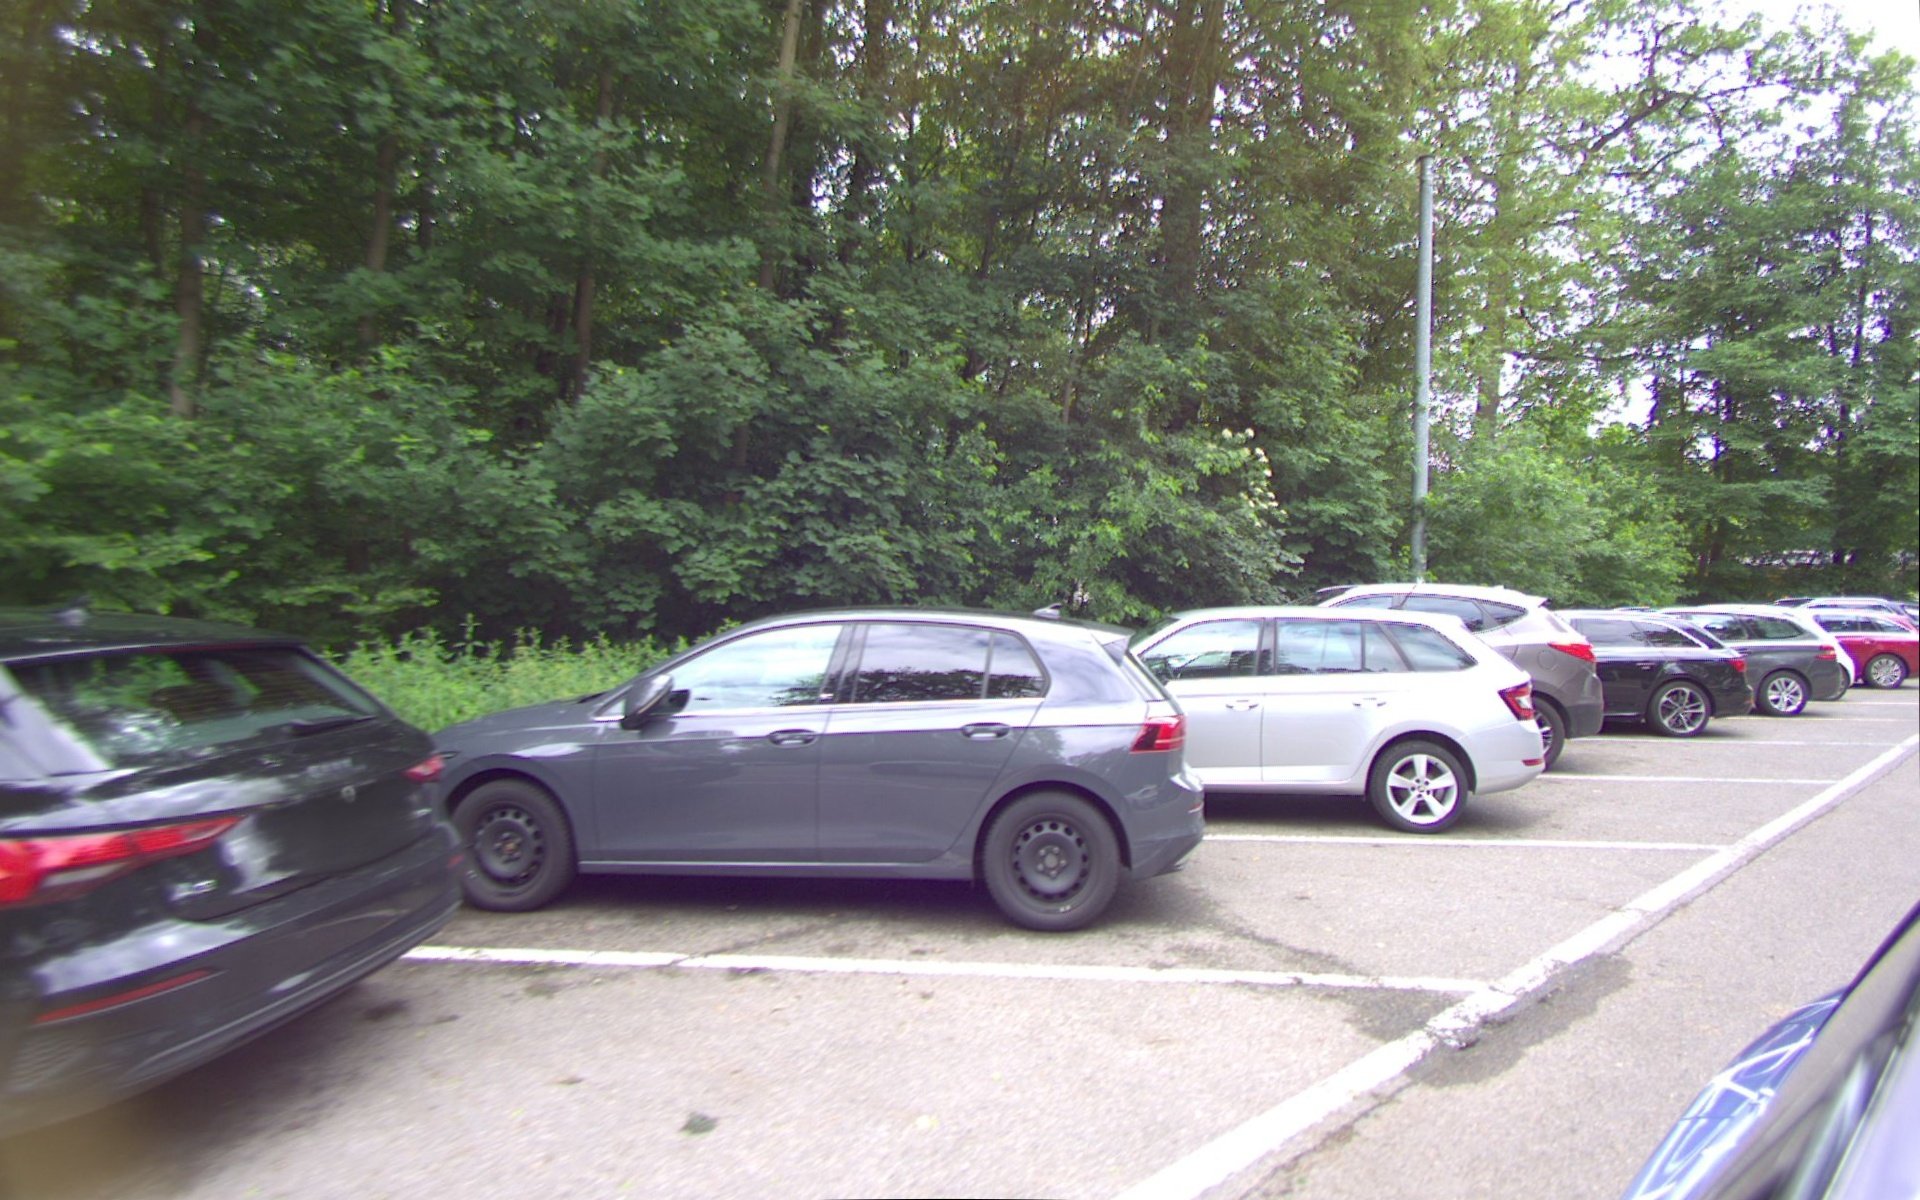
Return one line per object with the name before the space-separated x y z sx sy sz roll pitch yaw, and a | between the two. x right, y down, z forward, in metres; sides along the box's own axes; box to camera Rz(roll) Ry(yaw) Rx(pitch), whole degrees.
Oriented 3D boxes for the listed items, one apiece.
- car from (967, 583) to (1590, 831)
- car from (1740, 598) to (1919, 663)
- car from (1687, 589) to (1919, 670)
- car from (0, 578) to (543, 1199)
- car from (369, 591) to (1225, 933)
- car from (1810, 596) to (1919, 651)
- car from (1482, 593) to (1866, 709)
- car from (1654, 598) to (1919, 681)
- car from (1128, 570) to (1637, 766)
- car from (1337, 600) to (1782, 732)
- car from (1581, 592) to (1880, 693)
car | 2.141 0.662 7.581 3.935 1.485 1.830 1 0 10
car | 21.324 0.698 23.989 4.051 1.457 1.865 0 0 9
car | 18.354 0.591 21.694 4.051 1.638 1.838 0 0 9
car | -3.761 0.677 3.199 4.132 1.481 1.896 0 0 6
car | -0.739 0.694 5.519 3.929 1.440 1.907 1 0 5
car | 26.885 0.649 28.866 3.724 1.511 1.698 0 0 5
car | 10.058 0.667 14.547 4.114 1.476 1.802 1 0 6
car | 16.008 0.706 19.190 4.226 1.431 1.922 0 0 10
car | 3.858 0.574 9.958 4.188 1.657 1.962 1 0 6
car | 7.063 0.728 12.334 4.185 1.395 1.964 1 0 4
car | 12.691 0.661 16.880 3.522 1.524 1.731 1 0 8
